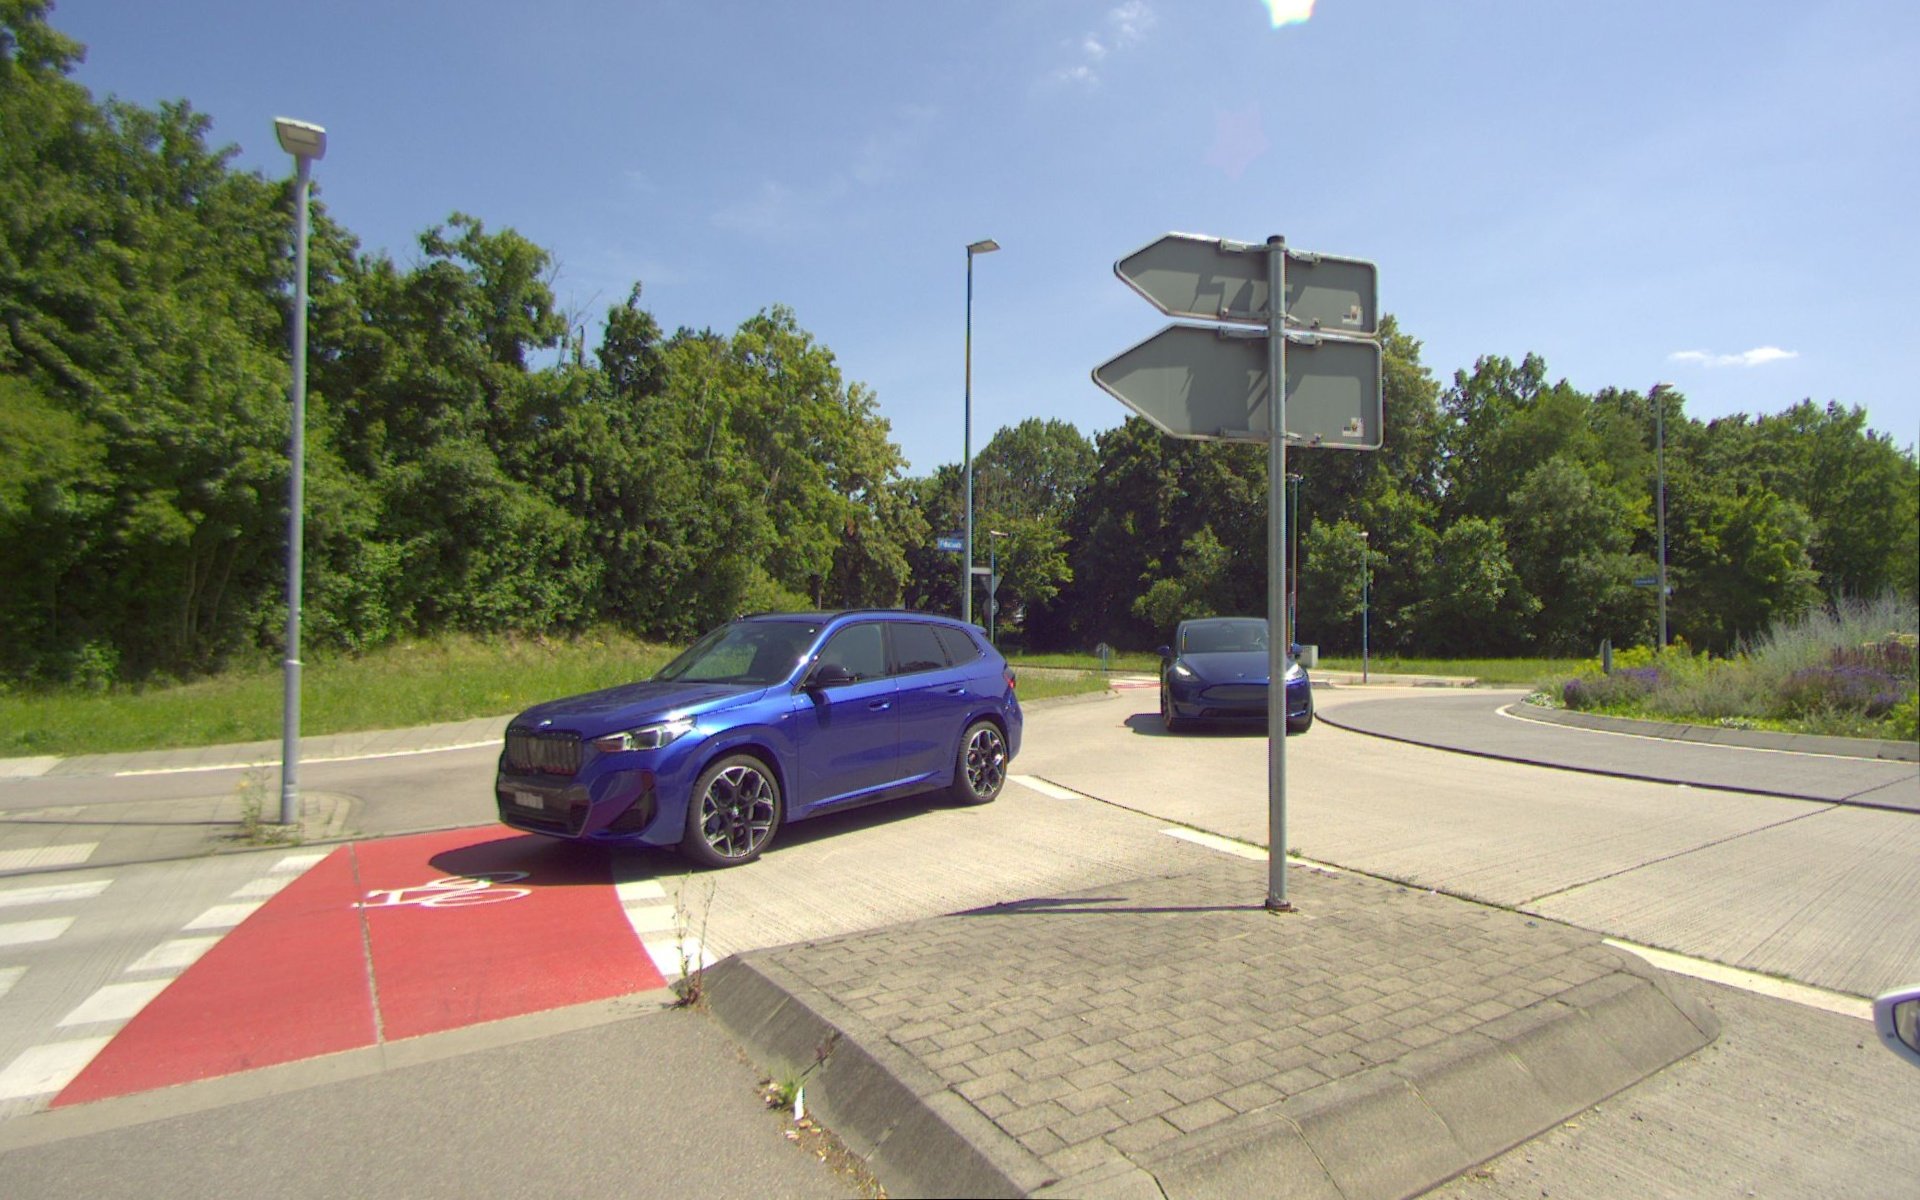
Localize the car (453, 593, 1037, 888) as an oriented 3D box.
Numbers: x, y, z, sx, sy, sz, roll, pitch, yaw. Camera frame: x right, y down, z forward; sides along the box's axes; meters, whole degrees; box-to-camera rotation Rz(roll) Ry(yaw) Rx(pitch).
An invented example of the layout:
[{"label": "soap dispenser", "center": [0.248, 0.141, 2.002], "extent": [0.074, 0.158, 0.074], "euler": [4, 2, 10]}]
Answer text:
[{"label": "car", "center": [-1.332, 0.824, 7.867], "extent": [1.967, 1.617, 4.309], "euler": [-2, -2, 34]}]

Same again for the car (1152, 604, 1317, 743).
[{"label": "car", "center": [4.071, 0.958, 14.747], "extent": [1.960, 1.661, 4.759], "euler": [0, -1, 17]}]
